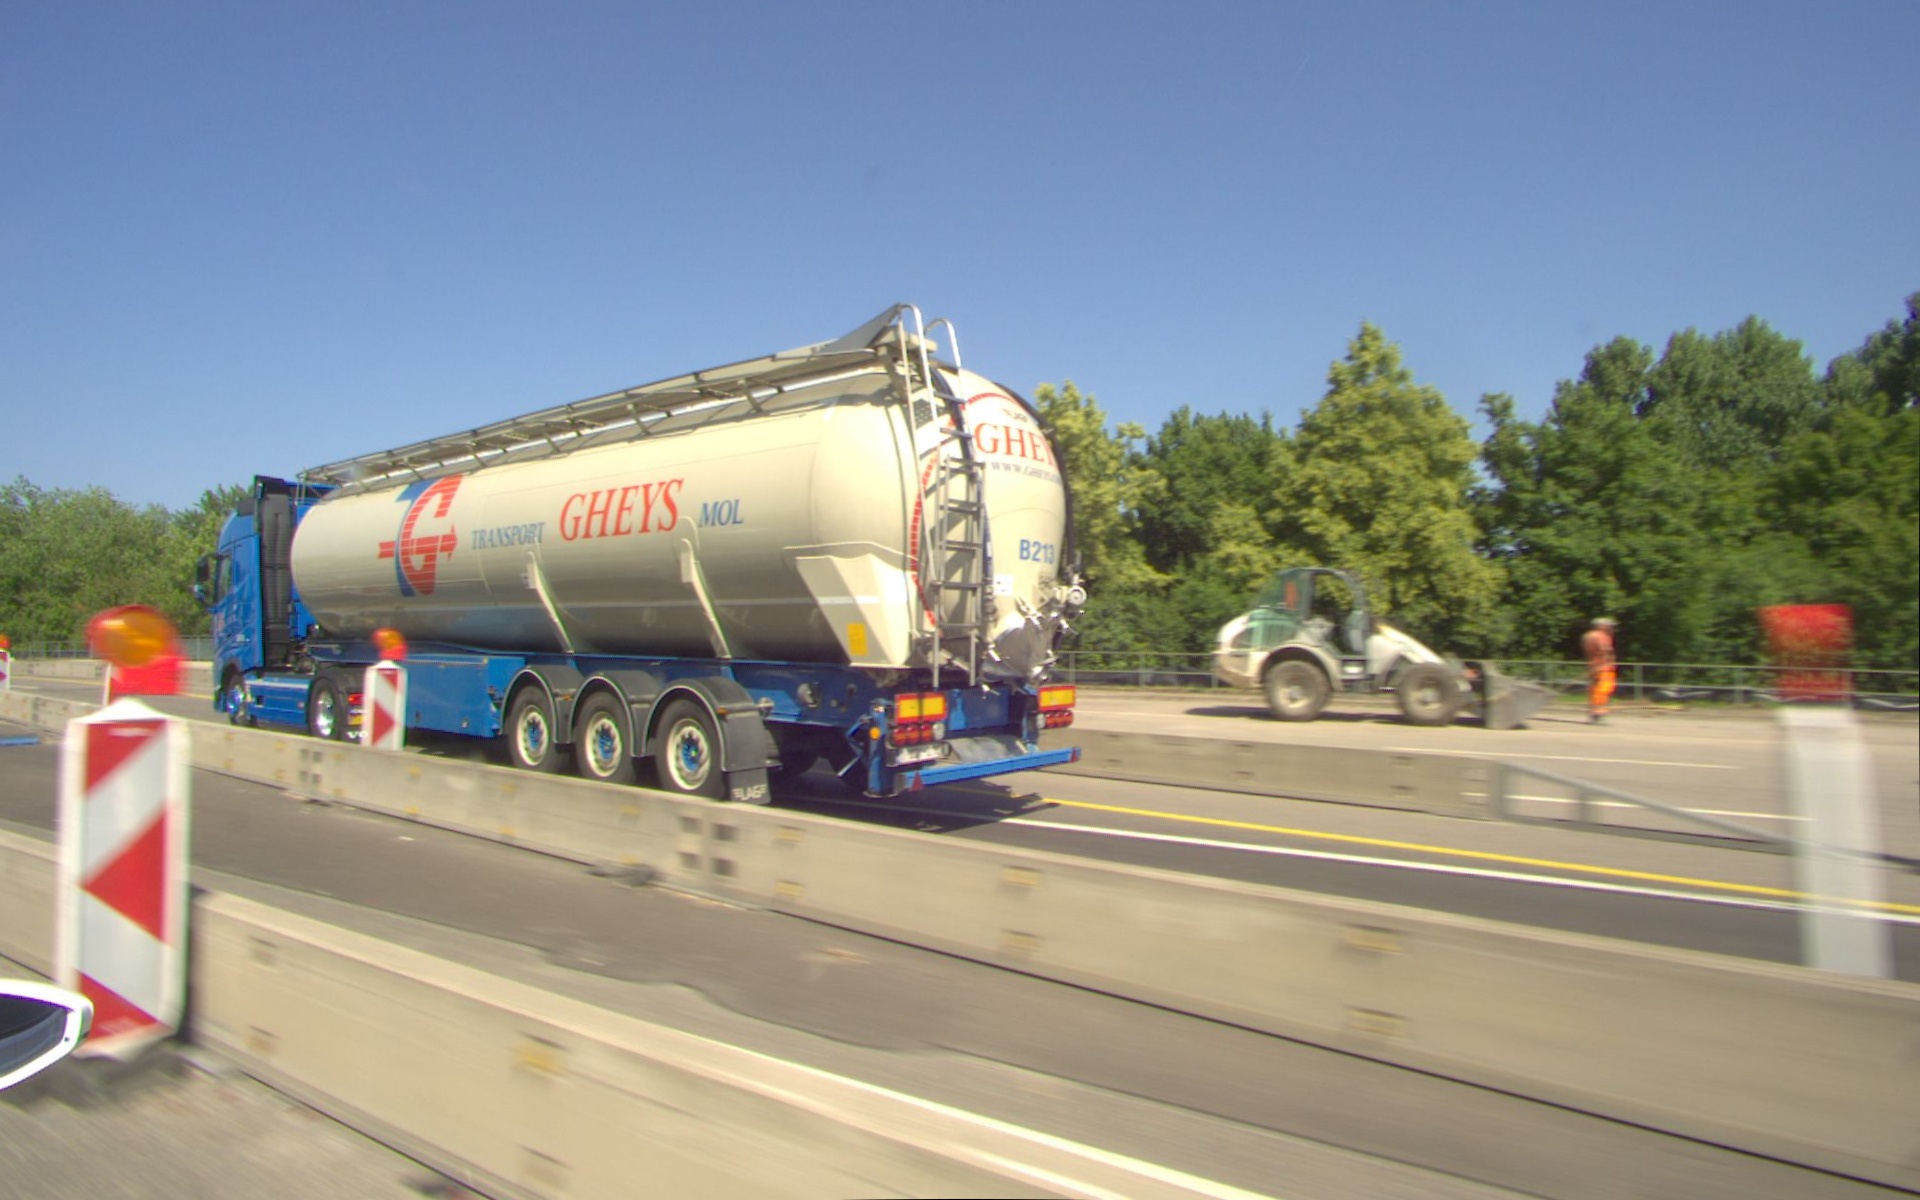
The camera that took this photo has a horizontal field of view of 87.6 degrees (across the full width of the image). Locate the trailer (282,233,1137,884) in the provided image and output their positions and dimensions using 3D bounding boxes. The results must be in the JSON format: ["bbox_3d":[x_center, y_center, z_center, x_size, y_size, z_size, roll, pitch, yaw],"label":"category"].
[{"bbox_3d":[-4.128,-0.133,11.482,12.464,4.191,2.683,-1,-1,40],"label":"trailer"}]

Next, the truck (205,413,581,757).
[{"bbox_3d":[-8.996,-0.096,15.474,7.213,4.156,2.683,-1,-1,40],"label":"truck"}]

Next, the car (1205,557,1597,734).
[{"bbox_3d":[7.438,0.750,17.400,5.889,2.676,2.104,-1,-1,26],"label":"car"}]

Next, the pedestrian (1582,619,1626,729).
[{"bbox_3d":[10.676,1.210,16.616,0.523,1.770,0.664,0,-1,26],"label":"pedestrian"}]
